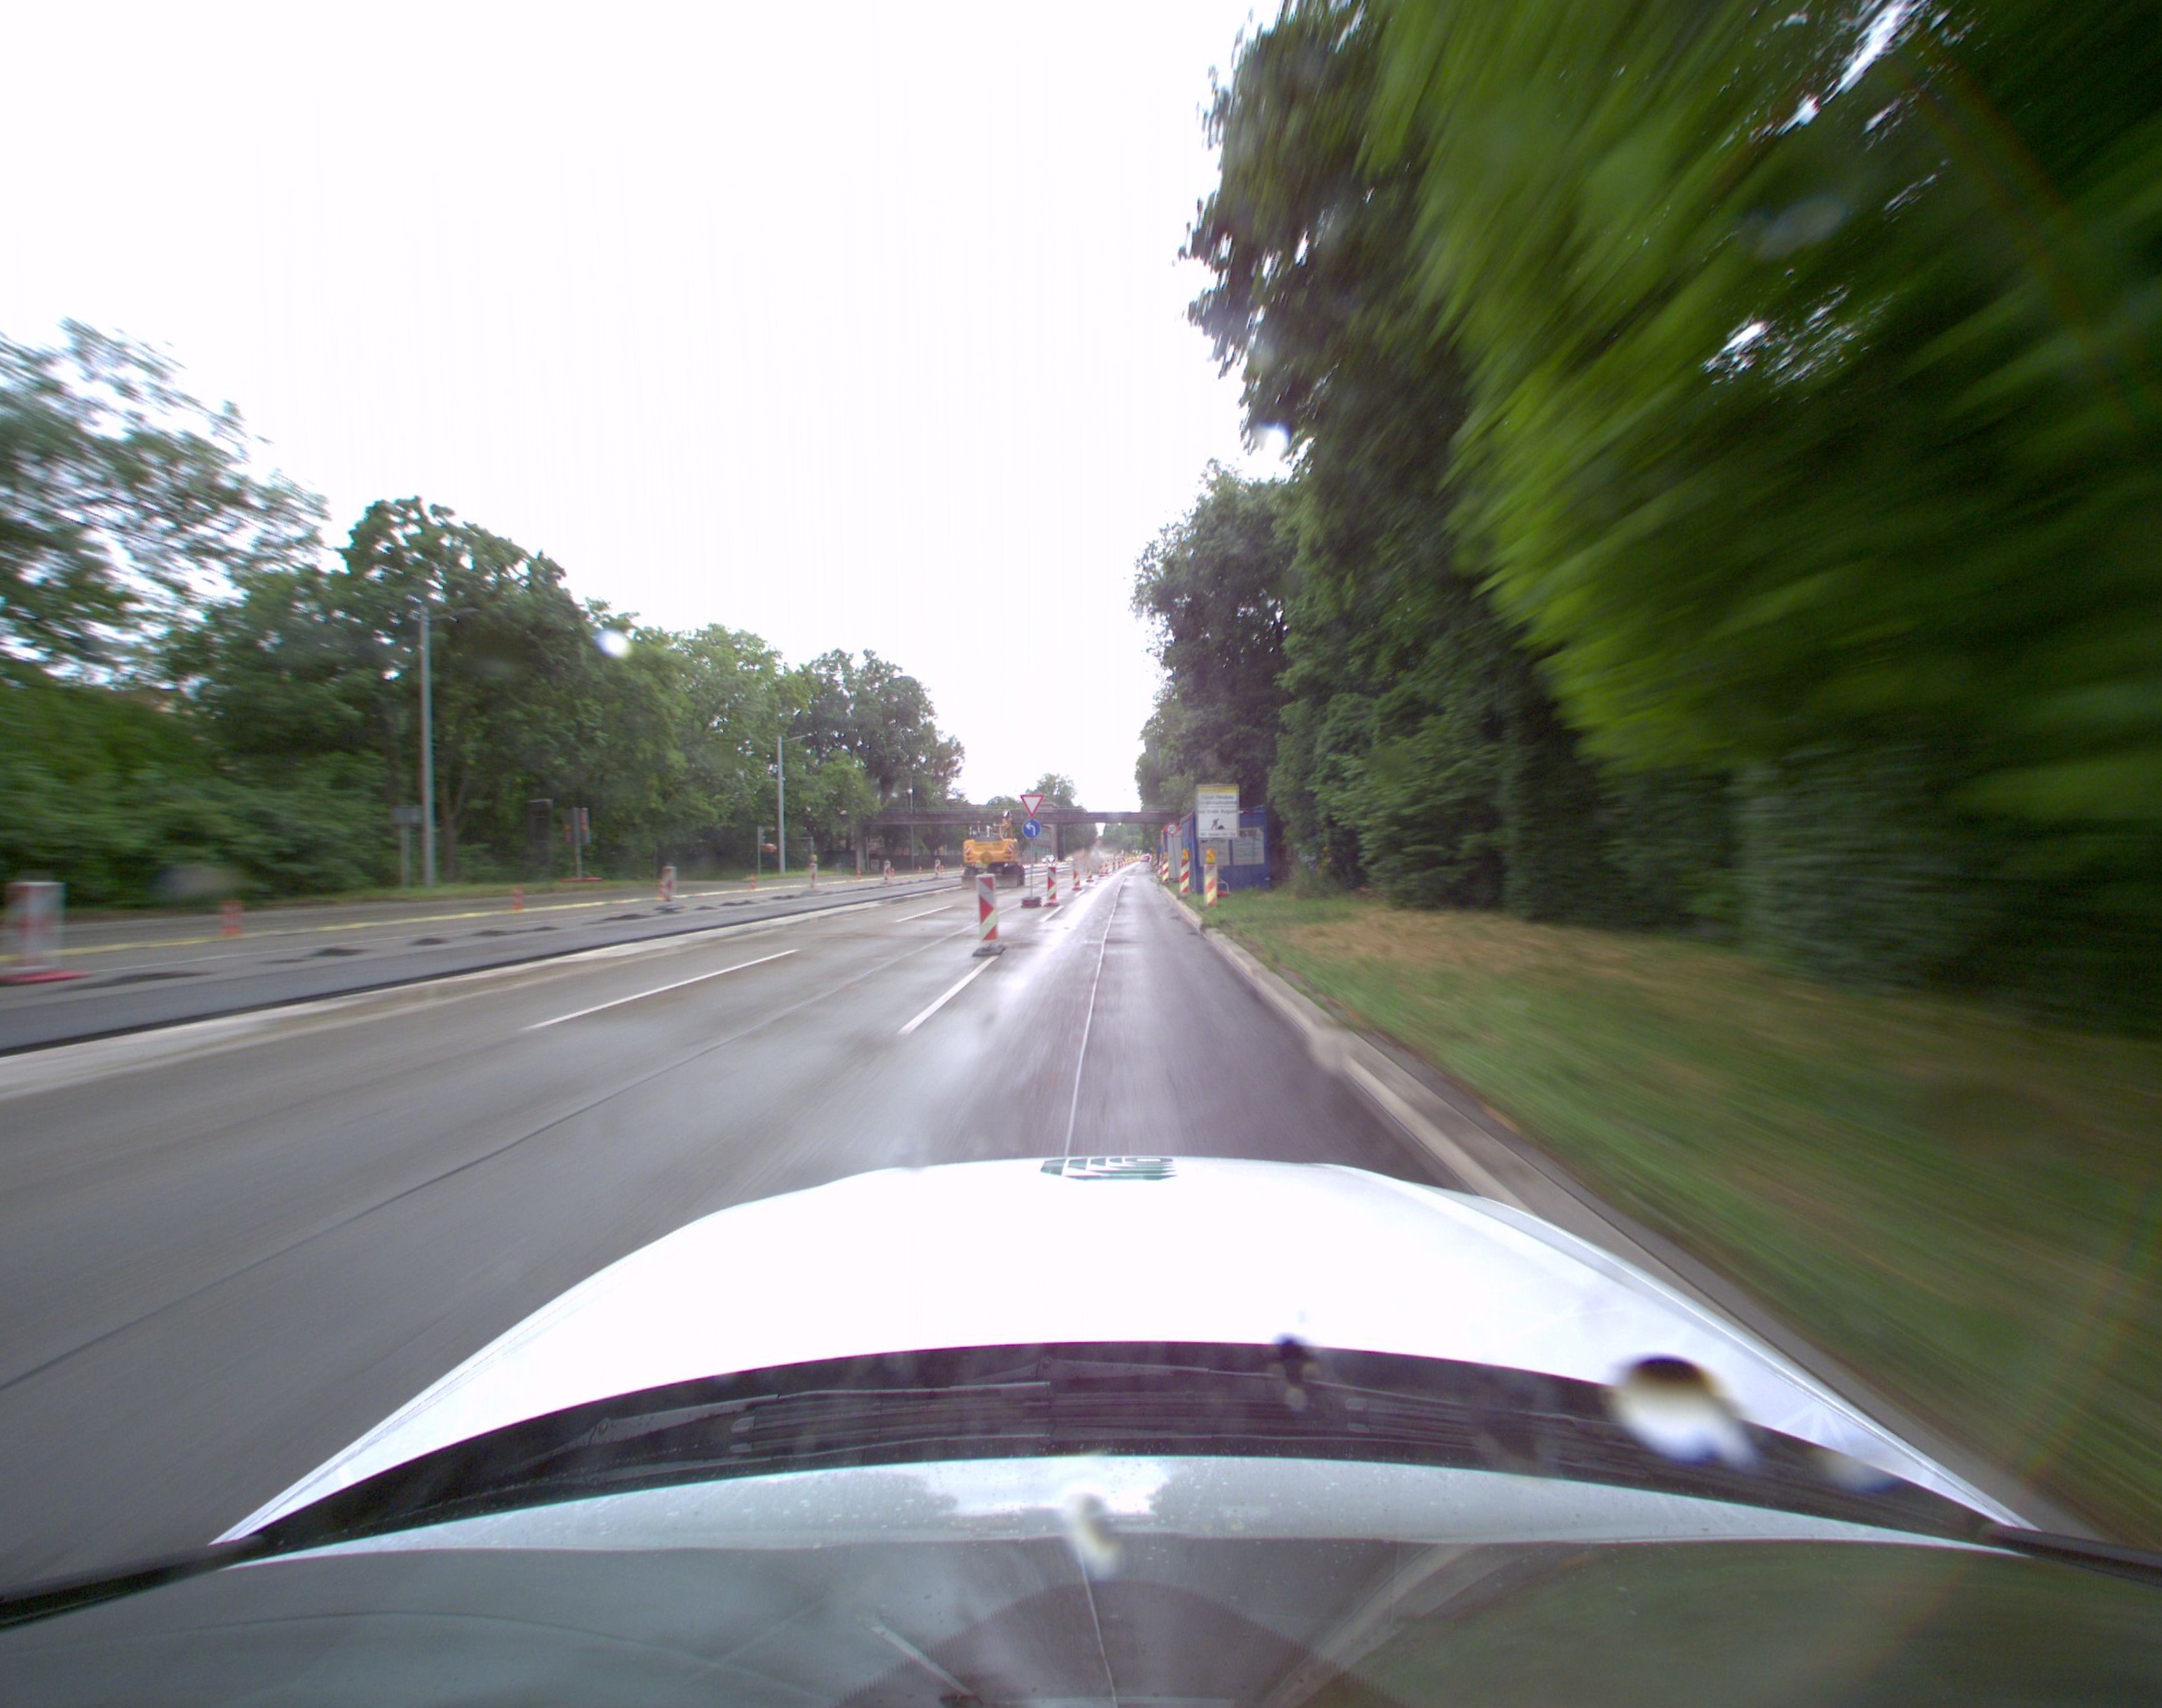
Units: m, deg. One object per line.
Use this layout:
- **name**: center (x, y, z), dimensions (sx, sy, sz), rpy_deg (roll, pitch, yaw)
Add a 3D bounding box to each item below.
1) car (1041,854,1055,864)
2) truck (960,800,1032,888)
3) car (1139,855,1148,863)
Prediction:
- **car**: center (-6.100, 0.912, 152.933), dimensions (1.961, 1.806, 4.614), rpy_deg (-2, -1, 5)
- **truck**: center (-4.450, -0.481, 45.057), dimensions (2.888, 4.259, 10.752), rpy_deg (0, 0, 0)
- **car**: center (14.161, 1.079, 183.777), dimensions (1.984, 1.640, 4.005), rpy_deg (-2, -1, 4)
